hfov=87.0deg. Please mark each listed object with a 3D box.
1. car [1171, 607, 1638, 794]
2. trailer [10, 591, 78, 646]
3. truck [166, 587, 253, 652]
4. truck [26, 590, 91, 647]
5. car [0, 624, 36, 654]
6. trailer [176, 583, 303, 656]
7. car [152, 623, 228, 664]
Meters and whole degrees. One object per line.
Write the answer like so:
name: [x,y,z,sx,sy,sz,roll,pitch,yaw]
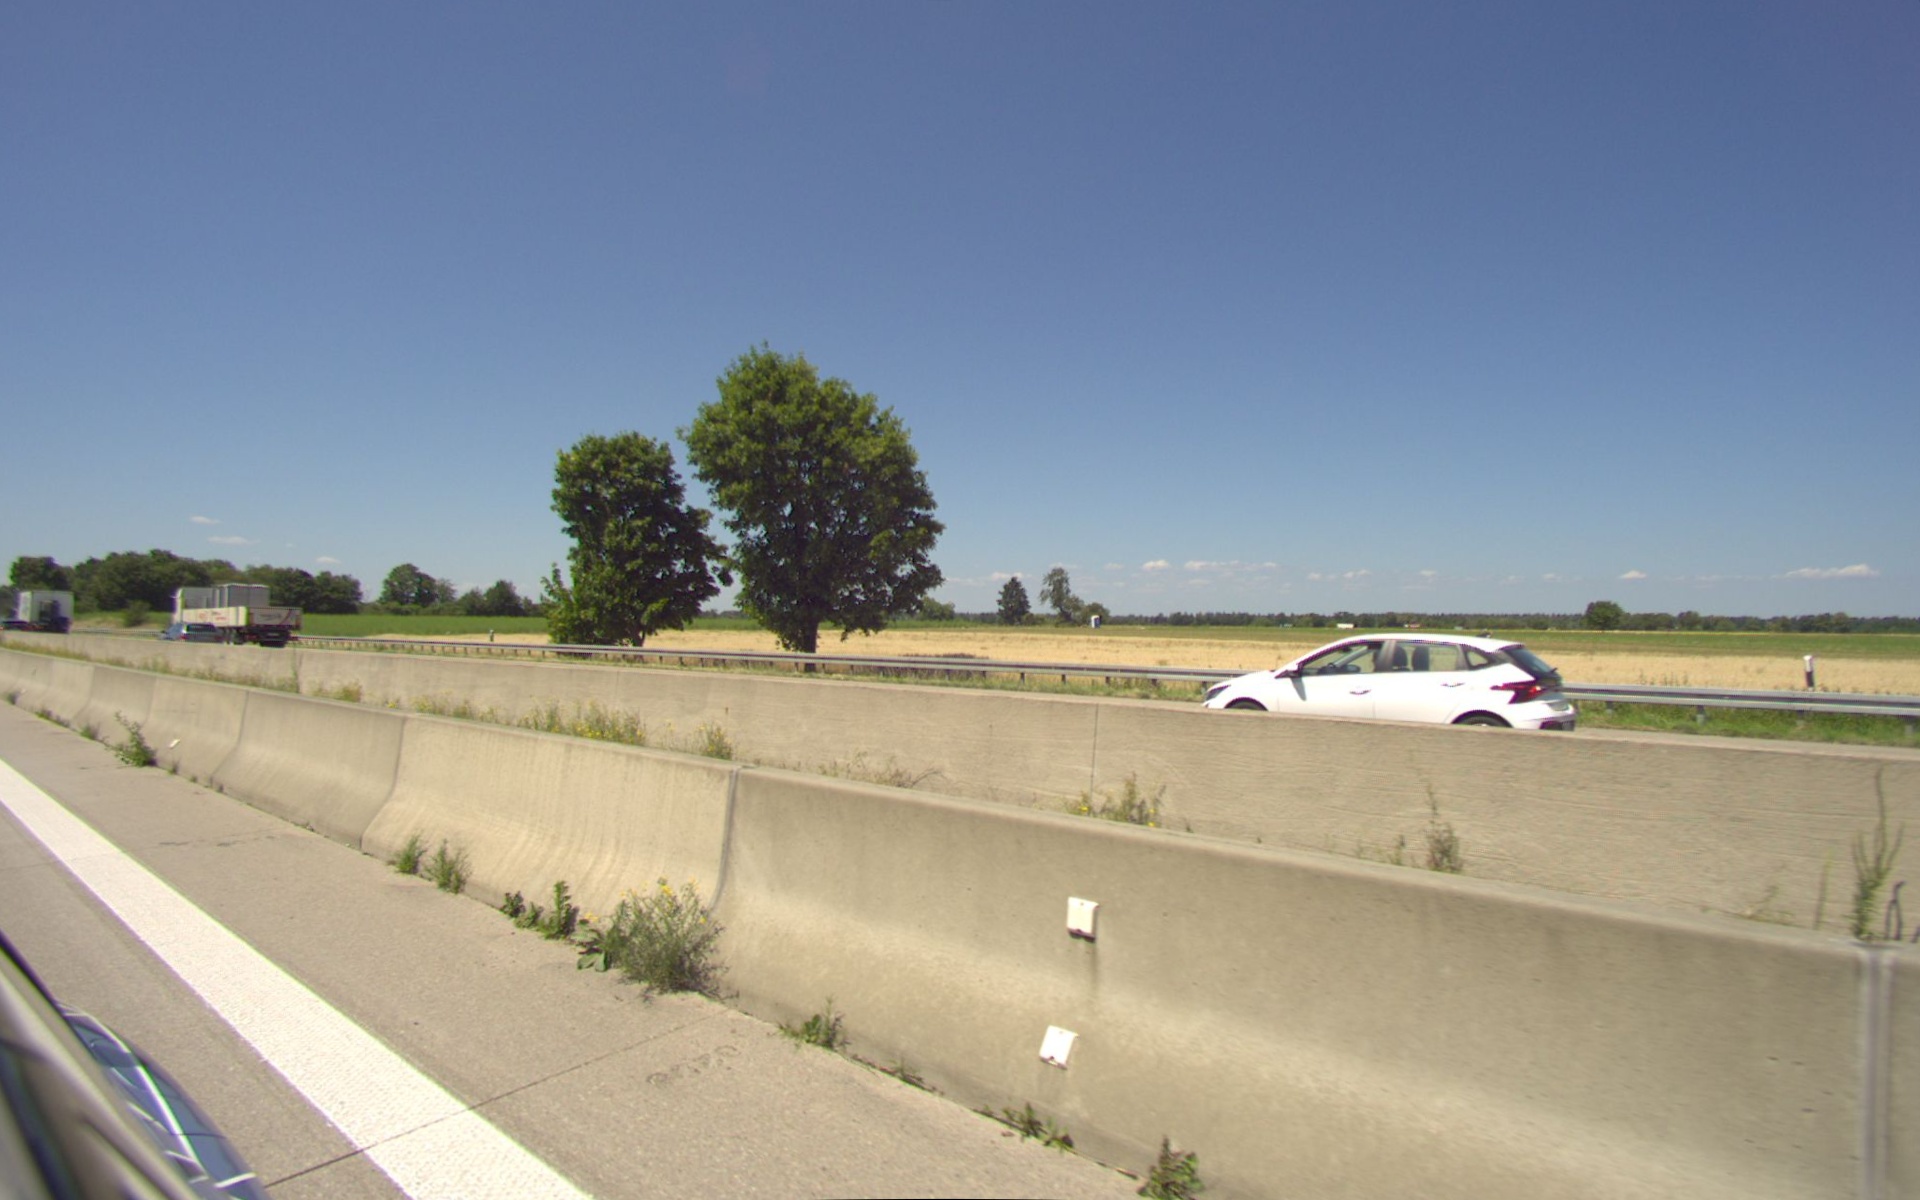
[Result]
car: [4.998,0.974,11.768,4.609,1.730,1.973,-1,0,40]
trailer: [-70.882,1.396,78.273,8.472,4.000,2.871,-1,0,41]
truck: [-45.388,1.132,61.126,7.232,3.715,2.774,-1,0,41]
truck: [-65.704,1.302,73.751,5.042,4.000,2.871,-1,0,41]
car: [-58.899,2.401,62.628,5.022,1.730,1.973,-1,0,41]
trailer: [-41.021,1.076,57.281,13.743,3.711,2.774,-1,0,41]
car: [-35.205,1.941,46.226,5.127,1.730,1.942,-1,0,44]
